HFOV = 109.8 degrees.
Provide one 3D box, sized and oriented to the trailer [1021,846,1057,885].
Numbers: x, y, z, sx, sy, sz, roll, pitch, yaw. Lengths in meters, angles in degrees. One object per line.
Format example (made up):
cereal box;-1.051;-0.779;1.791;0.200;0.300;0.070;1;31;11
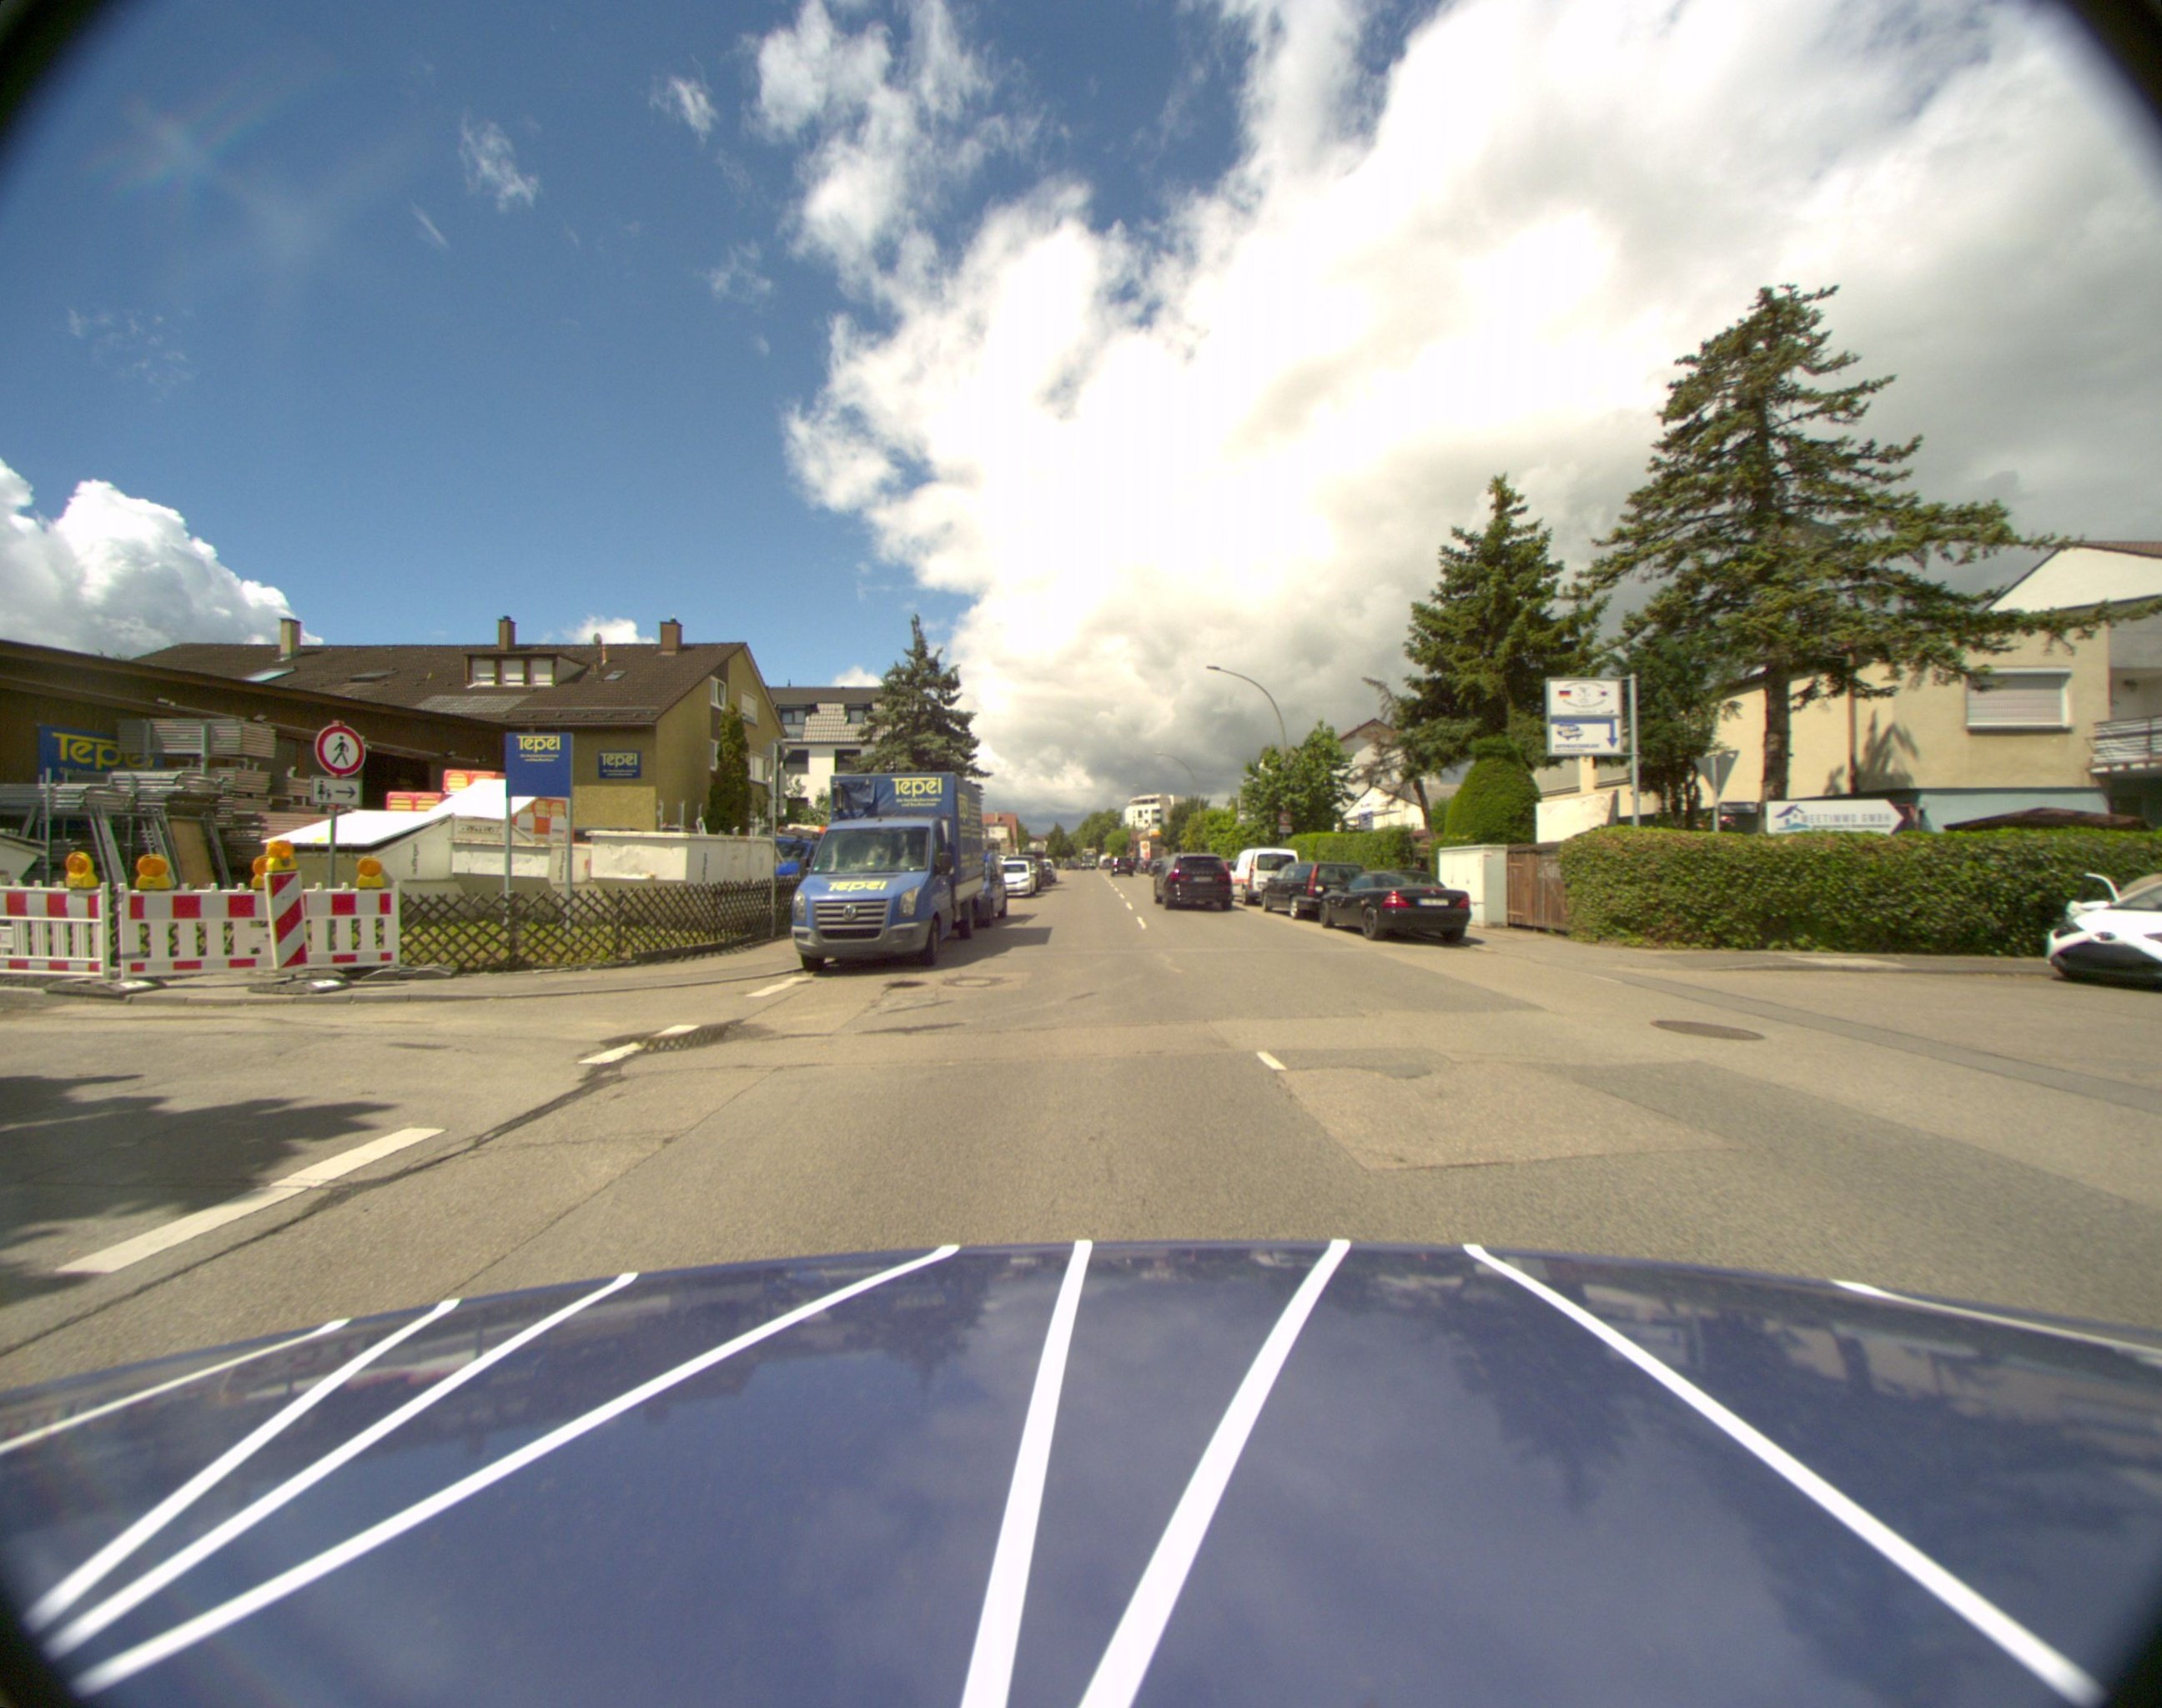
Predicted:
trailer;-2.307;0.634;42.774;1.777;2.132;4.114;0;0;0

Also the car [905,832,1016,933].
car;-2.856;0.645;18.986;1.878;2.156;4.465;-2;0;1

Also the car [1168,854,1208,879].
car;6.604;0.770;47.358;1.724;1.484;4.735;0;-1;-1

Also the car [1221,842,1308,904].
car;5.998;0.602;25.354;1.748;1.827;4.356;3;-1;-1

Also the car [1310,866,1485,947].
car;6.059;0.930;15.106;1.635;1.296;4.116;3;-1;-1

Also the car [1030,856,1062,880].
car;-2.251;0.902;49.583;1.723;1.423;3.985;1;-1;3

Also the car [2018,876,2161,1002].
car;14.626;1.078;9.554;3.561;1.469;1.614;2;0;2

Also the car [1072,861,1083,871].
car;-0.582;2.054;128.903;1.789;1.548;4.317;-2;0;1

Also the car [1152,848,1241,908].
car;3.367;0.684;23.009;1.998;1.606;4.411;1;-1;0

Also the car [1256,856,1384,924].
car;5.990;0.849;19.673;1.748;1.463;4.644;3;-1;-1

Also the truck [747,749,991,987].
truck;-3.186;0.220;13.152;2.326;3.078;6.043;-2;0;1

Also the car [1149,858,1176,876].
car;6.457;1.015;60.632;1.667;1.406;4.339;1;-1;0

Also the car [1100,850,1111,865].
car;4.855;0.734;151.106;1.997;2.749;6.165;1;-1;0

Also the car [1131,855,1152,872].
car;7.198;1.156;90.856;1.915;1.810;5.430;3;-1;0

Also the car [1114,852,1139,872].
car;3.704;0.660;62.491;1.748;1.618;4.356;-1;-1;0

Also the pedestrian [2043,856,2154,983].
pedestrian;14.397;0.896;10.776;0.630;1.724;0.685;1;1;21

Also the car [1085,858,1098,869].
car;1.640;1.435;119.641;1.891;1.708;3.999;0;0;-2

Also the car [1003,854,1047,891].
car;-2.649;0.869;36.892;1.878;1.717;4.713;0;-1;-1

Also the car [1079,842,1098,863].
car;1.363;-0.121;142.801;3.263;3.595;10.270;-2;-1;-1

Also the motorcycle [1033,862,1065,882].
motorcycle;-1.967;1.118;46.508;1.826;1.202;0.715;0;-1;-34

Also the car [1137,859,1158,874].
car;6.507;1.205;74.524;1.667;1.427;4.339;2;-1;0

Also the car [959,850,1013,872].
car;-7.910;0.573;63.327;4.202;1.644;1.867;3;0;0

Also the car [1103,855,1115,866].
car;4.486;1.015;120.798;1.667;1.785;4.338;1;-1;-1

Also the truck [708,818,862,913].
truck;-7.427;0.345;19.780;1.834;2.069;5.387;3;-2;0

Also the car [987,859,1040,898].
car;-2.706;0.964;31.211;1.777;1.499;4.000;0;-1;0
